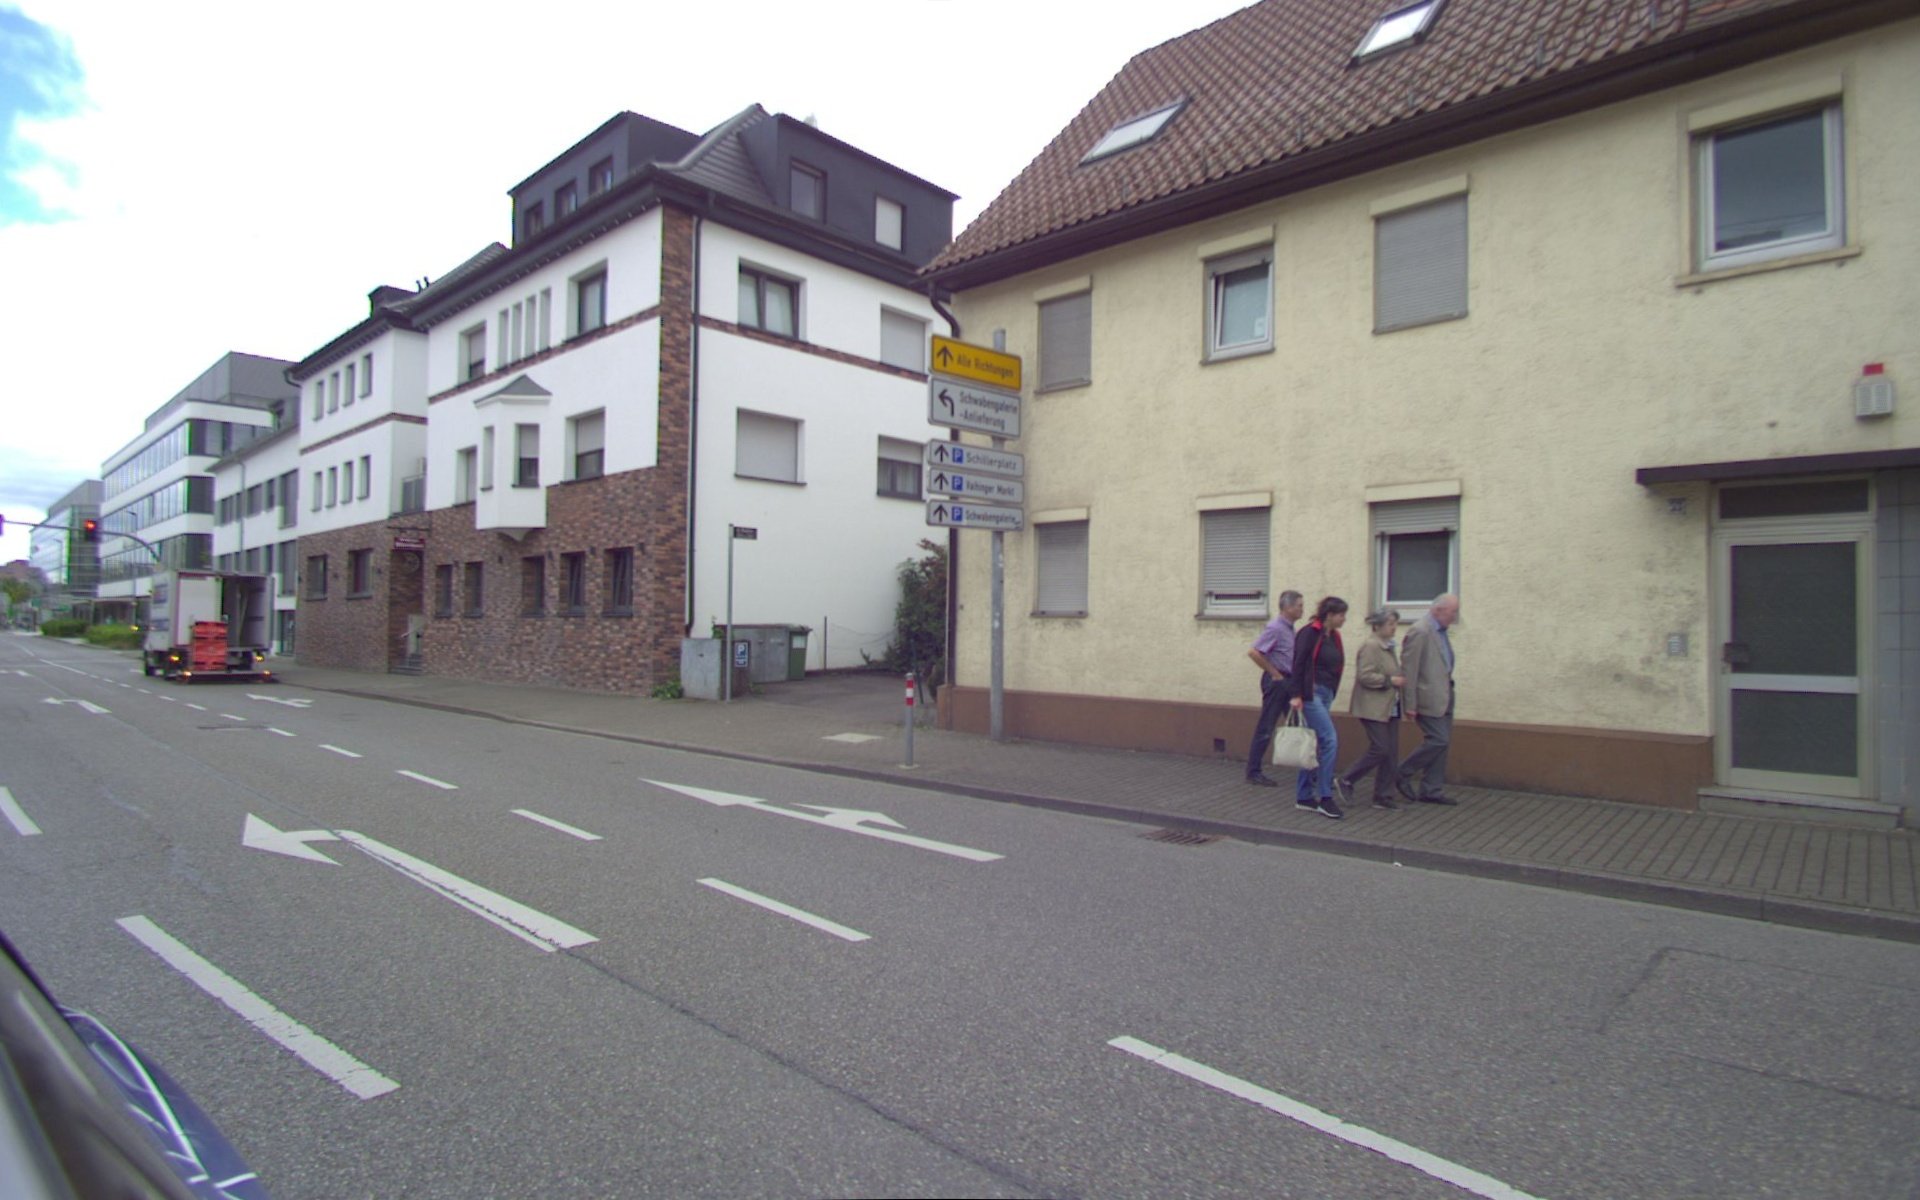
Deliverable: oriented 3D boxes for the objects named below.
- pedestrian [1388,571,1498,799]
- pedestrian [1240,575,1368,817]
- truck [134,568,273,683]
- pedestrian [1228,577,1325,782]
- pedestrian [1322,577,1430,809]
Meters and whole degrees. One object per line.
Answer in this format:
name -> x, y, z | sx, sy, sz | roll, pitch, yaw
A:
pedestrian -> 3.919, 0.667, 8.215 | 0.648, 1.750, 0.547 | -2, -3, 44
pedestrian -> 2.655, 0.705, 7.826 | 0.717, 1.750, 0.670 | -2, -3, 44
truck -> -22.061, 0.703, 29.409 | 2.434, 2.993, 5.968 | 0, -1, -45
pedestrian -> 2.839, 0.686, 9.085 | 0.648, 1.750, 0.547 | -2, -3, 44
pedestrian -> 3.306, 0.712, 8.057 | 0.648, 1.750, 0.490 | -2, -3, 44
